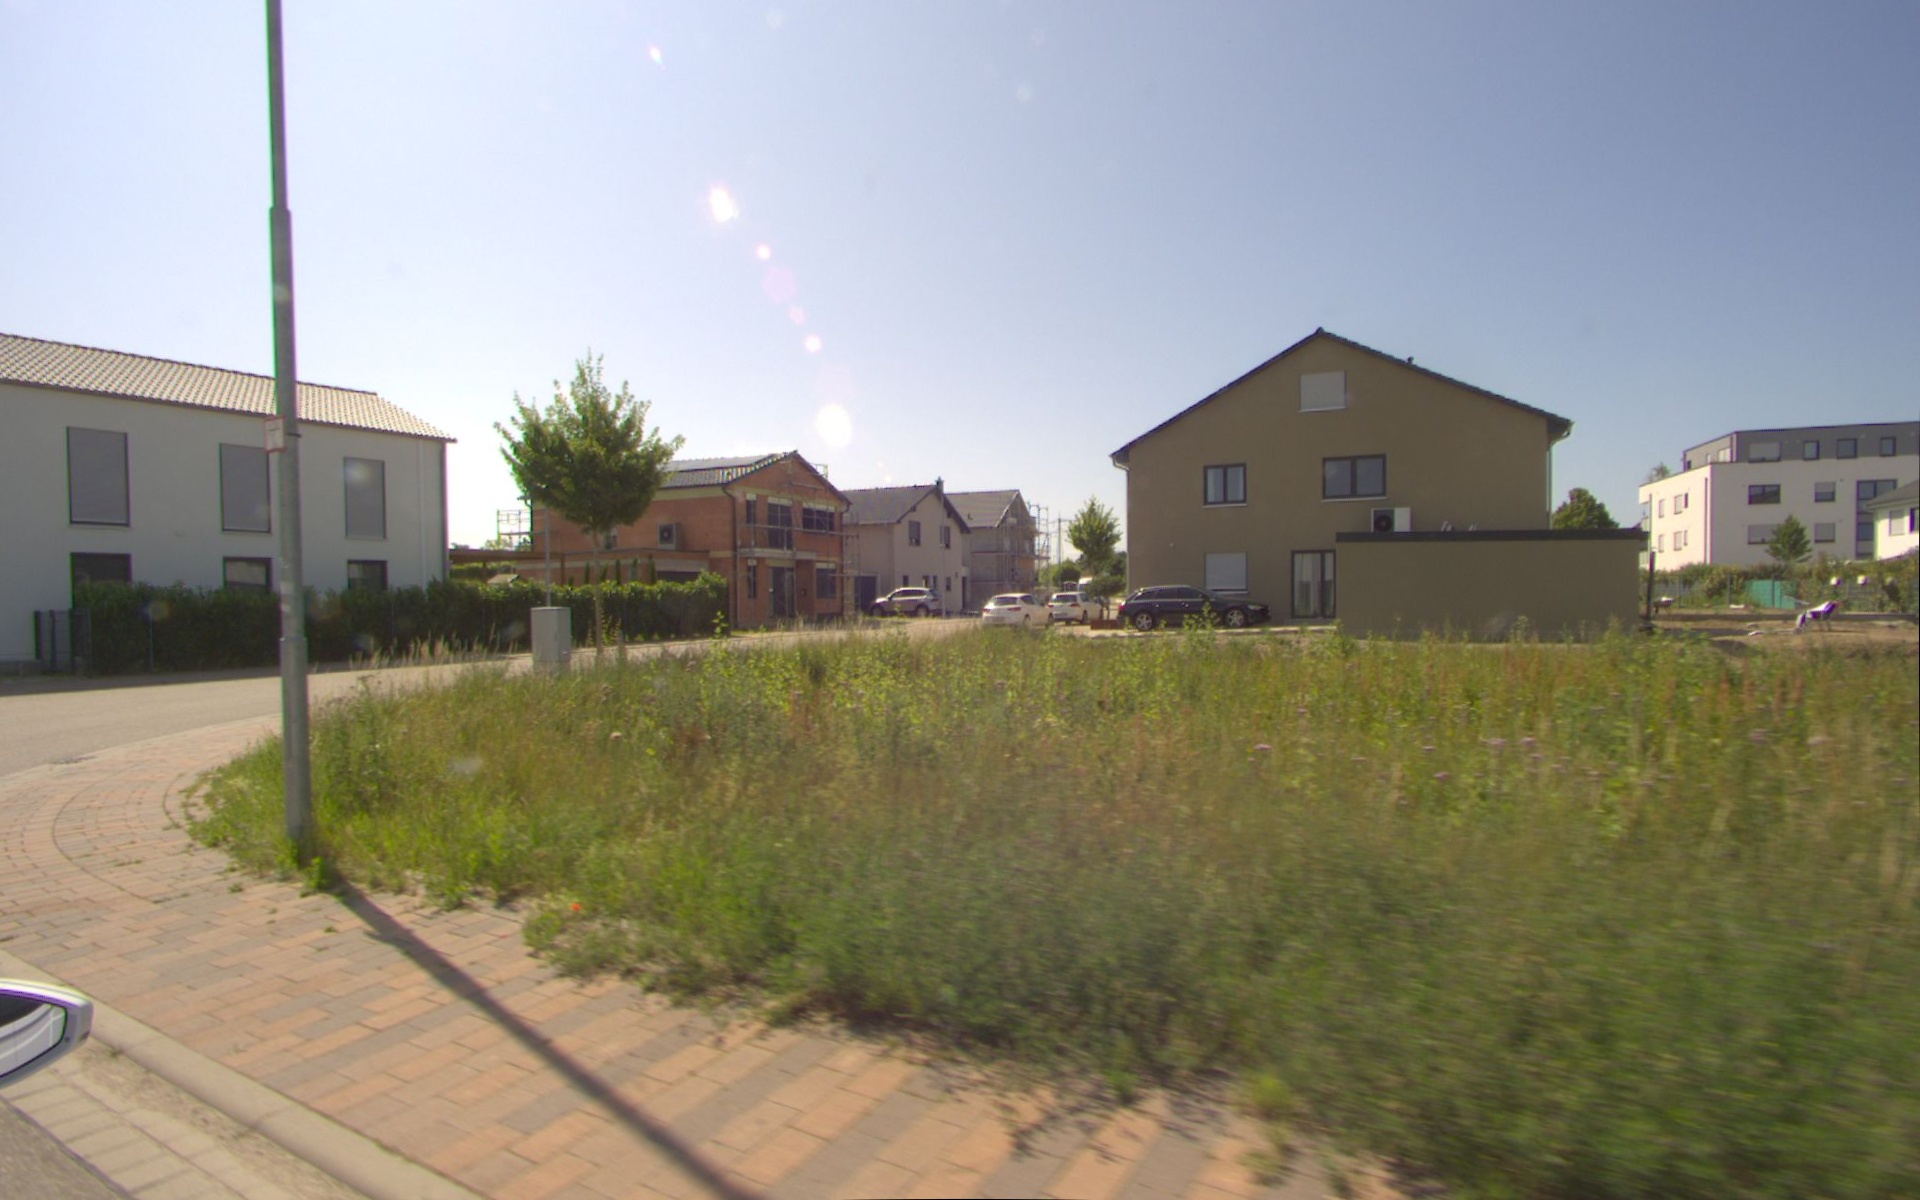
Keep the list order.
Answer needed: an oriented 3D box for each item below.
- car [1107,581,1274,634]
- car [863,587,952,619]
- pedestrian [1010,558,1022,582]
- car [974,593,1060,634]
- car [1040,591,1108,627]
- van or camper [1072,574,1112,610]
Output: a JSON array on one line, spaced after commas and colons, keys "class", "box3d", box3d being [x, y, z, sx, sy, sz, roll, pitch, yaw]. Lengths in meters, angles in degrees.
[{"class": "car", "box3d": [7.367, 0.249, 32.086, 4.828, 1.444, 1.992, -3, 0, 28]}, {"class": "car", "box3d": [-2.821, 0.154, 54.133, 4.363, 1.633, 1.995, -1, 1, 21]}, {"class": "pedestrian", "box3d": [4.158, -2.204, 74.197, 0.736, 1.701, 0.577, 0, -1, -21]}, {"class": "car", "box3d": [2.319, 0.483, 39.477, 1.791, 1.475, 4.548, -2, 0, 25]}, {"class": "car", "box3d": [5.181, 0.357, 45.123, 1.756, 1.445, 4.499, -2, 1, 24]}, {"class": "van or camper", "box3d": [10.162, -0.590, 76.595, 2.238, 2.587, 6.360, -1, 0, 14]}]
